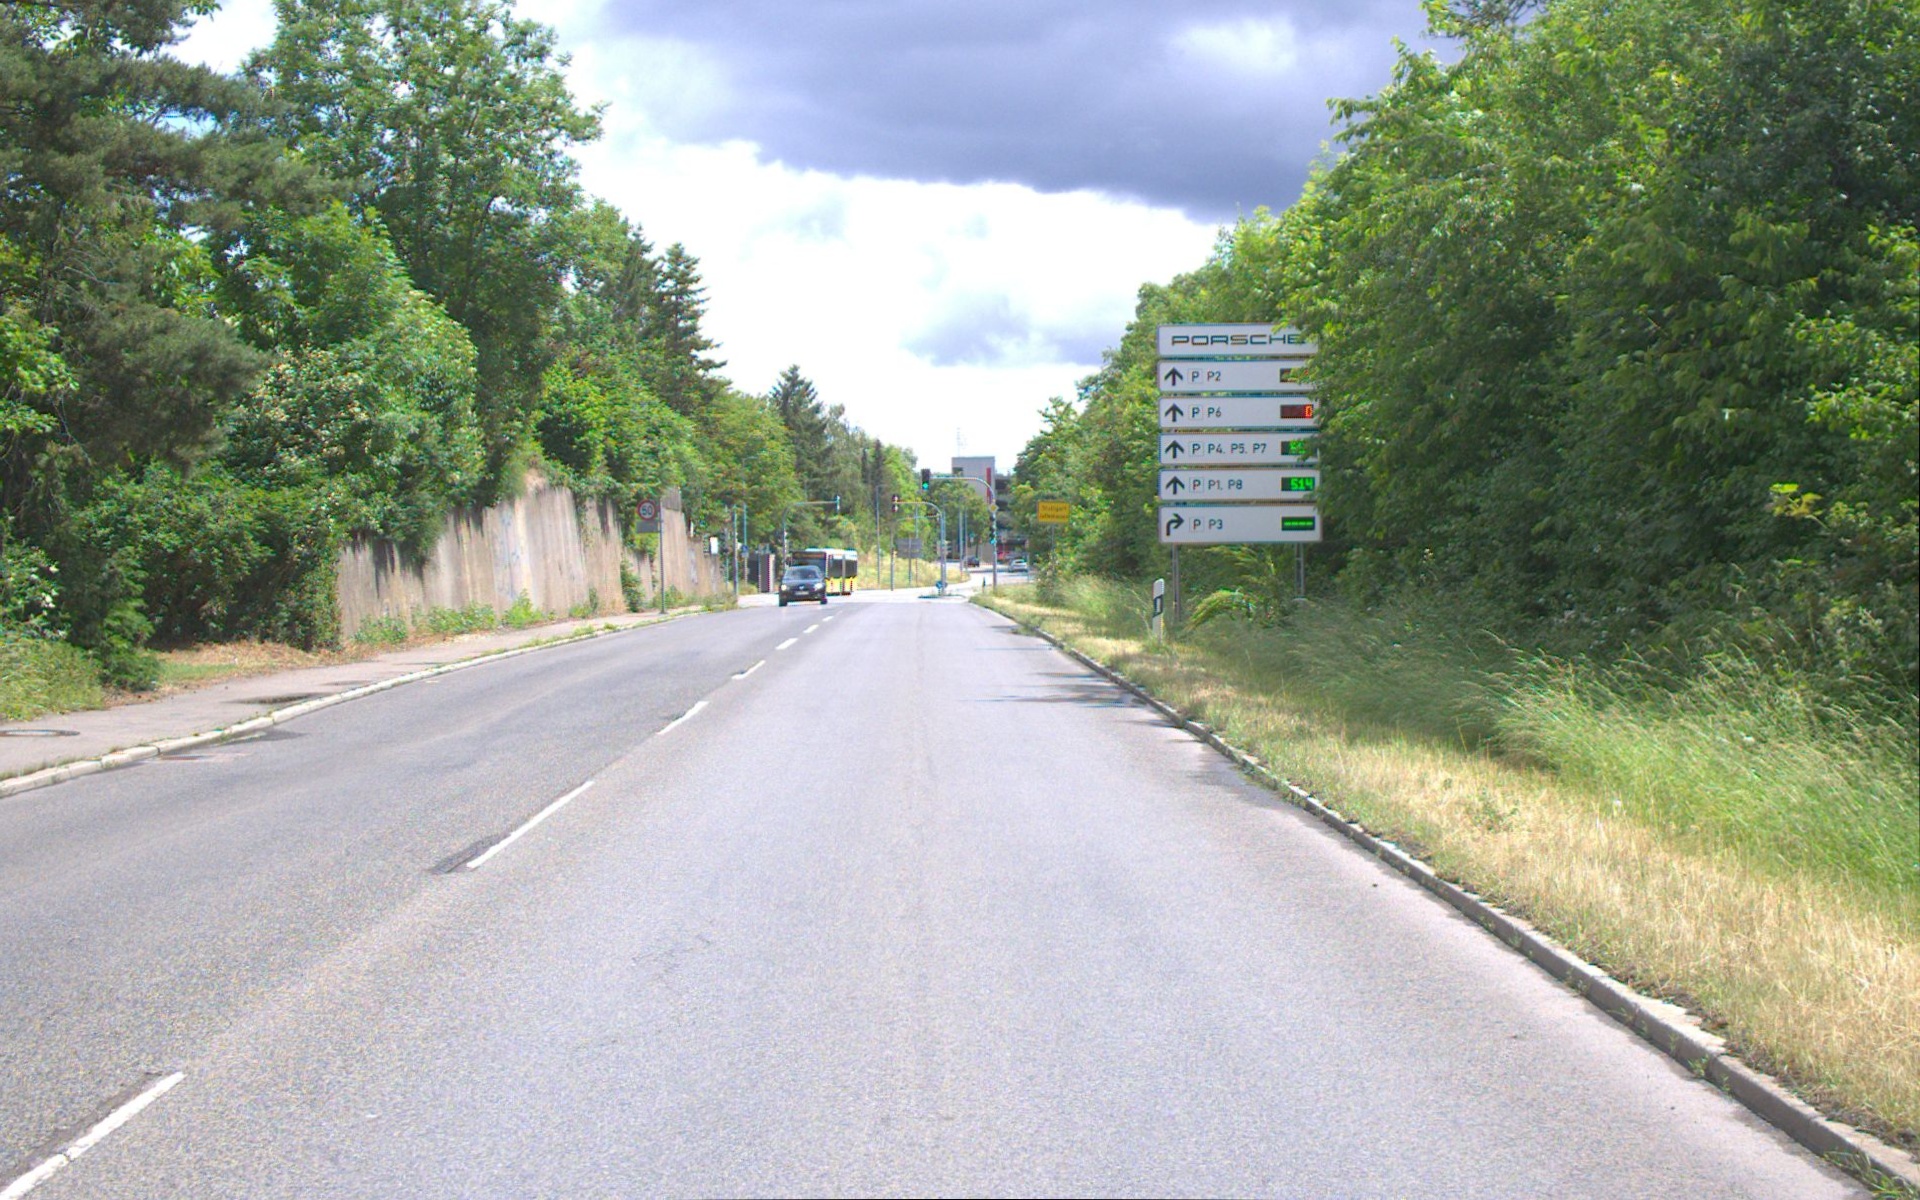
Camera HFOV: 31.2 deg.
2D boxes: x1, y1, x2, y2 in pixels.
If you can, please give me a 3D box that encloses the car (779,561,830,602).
[{"bbox_3d":[-5.820,-0.701,129.078,1.751,1.459,4.000,-1,1,-1],"label":"car"}]
